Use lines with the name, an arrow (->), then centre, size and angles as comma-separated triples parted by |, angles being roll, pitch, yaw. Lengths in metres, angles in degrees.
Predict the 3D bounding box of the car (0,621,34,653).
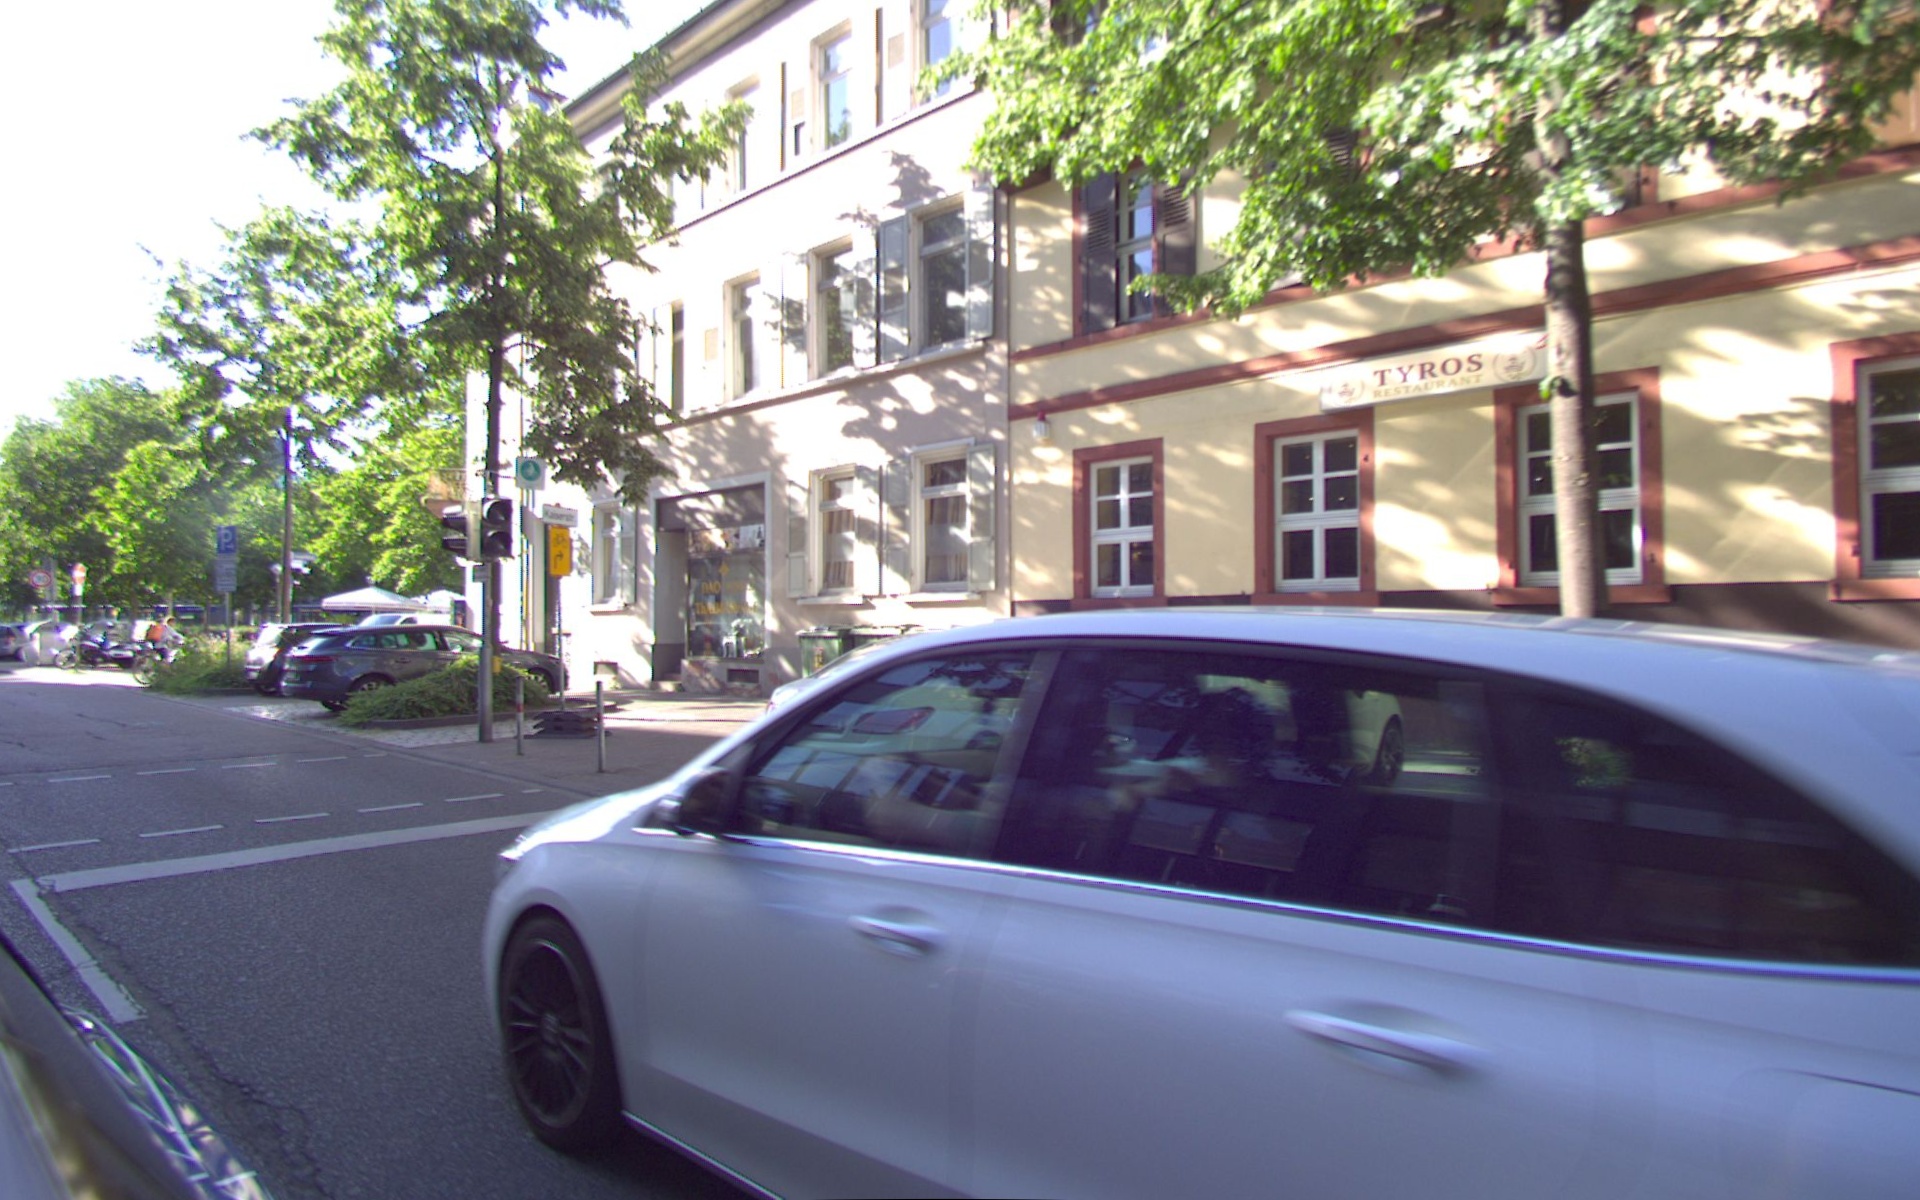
car -> -51.962, 1.990, 53.549 | 1.986, 1.706, 3.971 | -1, -1, 22

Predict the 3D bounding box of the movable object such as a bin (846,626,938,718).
movable object such as a bin -> -1.080, 1.102, 16.019 | 1.249, 1.366, 0.820 | -2, -1, 44

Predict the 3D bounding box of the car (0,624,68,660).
car -> -41.209, 1.807, 43.501 | 1.978, 1.453, 3.988 | -1, -1, 9

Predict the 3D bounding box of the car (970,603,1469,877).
car -> 2.375, 0.847, 8.265 | 1.999, 1.503, 4.649 | -3, -1, 42

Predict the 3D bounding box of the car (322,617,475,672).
car -> -21.333, 1.678, 38.771 | 2.055, 1.959, 5.302 | -1, -2, 15

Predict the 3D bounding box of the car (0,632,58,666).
car -> -43.548, 2.217, 45.594 | 1.981, 1.485, 3.981 | -1, -1, 15

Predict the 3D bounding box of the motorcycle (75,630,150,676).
motorcycle -> -27.808, 1.724, 33.243 | 1.724, 1.434, 0.832 | 0, -1, -23

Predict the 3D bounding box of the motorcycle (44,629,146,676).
motorcycle -> -27.521, 1.651, 32.254 | 2.282, 1.434, 1.004 | 0, -1, -22

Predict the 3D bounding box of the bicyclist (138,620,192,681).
bicyclist -> -20.357, 1.282, 25.917 | 0.661, 1.537, 0.888 | -1, -1, 8

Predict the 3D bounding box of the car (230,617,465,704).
car -> -13.149, 1.229, 21.891 | 1.942, 1.652, 3.947 | -2, -1, 39

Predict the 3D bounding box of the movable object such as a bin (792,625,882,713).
movable object such as a bin -> -2.050, 1.119, 16.857 | 1.261, 1.377, 0.899 | -2, -1, 44

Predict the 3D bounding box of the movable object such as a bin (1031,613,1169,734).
movable object such as a bin -> 1.824, 0.908, 13.201 | 1.382, 1.455, 1.121 | -2, -1, 44

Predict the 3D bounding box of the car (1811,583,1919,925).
car -> 5.640, 0.686, 4.779 | 1.959, 1.556, 4.304 | -1, -1, 34

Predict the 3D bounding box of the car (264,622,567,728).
car -> -9.370, 1.195, 17.665 | 1.944, 1.556, 4.292 | -2, -1, 43

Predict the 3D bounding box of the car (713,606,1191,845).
car -> 0.231, 0.854, 9.249 | 1.996, 1.503, 4.657 | 0, 1, 36

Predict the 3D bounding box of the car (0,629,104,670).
car -> -38.958, 2.042, 42.716 | 1.978, 1.574, 3.988 | -1, -1, 9

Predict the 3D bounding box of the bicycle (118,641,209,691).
bicycle -> -20.352, 1.675, 25.903 | 0.661, 1.167, 1.939 | -1, -1, 7

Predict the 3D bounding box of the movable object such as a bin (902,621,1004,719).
movable object such as a bin -> -0.117, 1.007, 15.110 | 1.346, 1.372, 0.808 | -2, -1, 44

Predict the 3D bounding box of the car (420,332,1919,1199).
car -> 0.498, 0.573, 2.595 | 4.351, 1.556, 1.890 | -2, -3, 41

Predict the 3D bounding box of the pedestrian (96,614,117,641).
pedestrian -> -39.574, 1.280, 46.926 | 0.520, 1.266, 0.519 | 0, -2, 8
